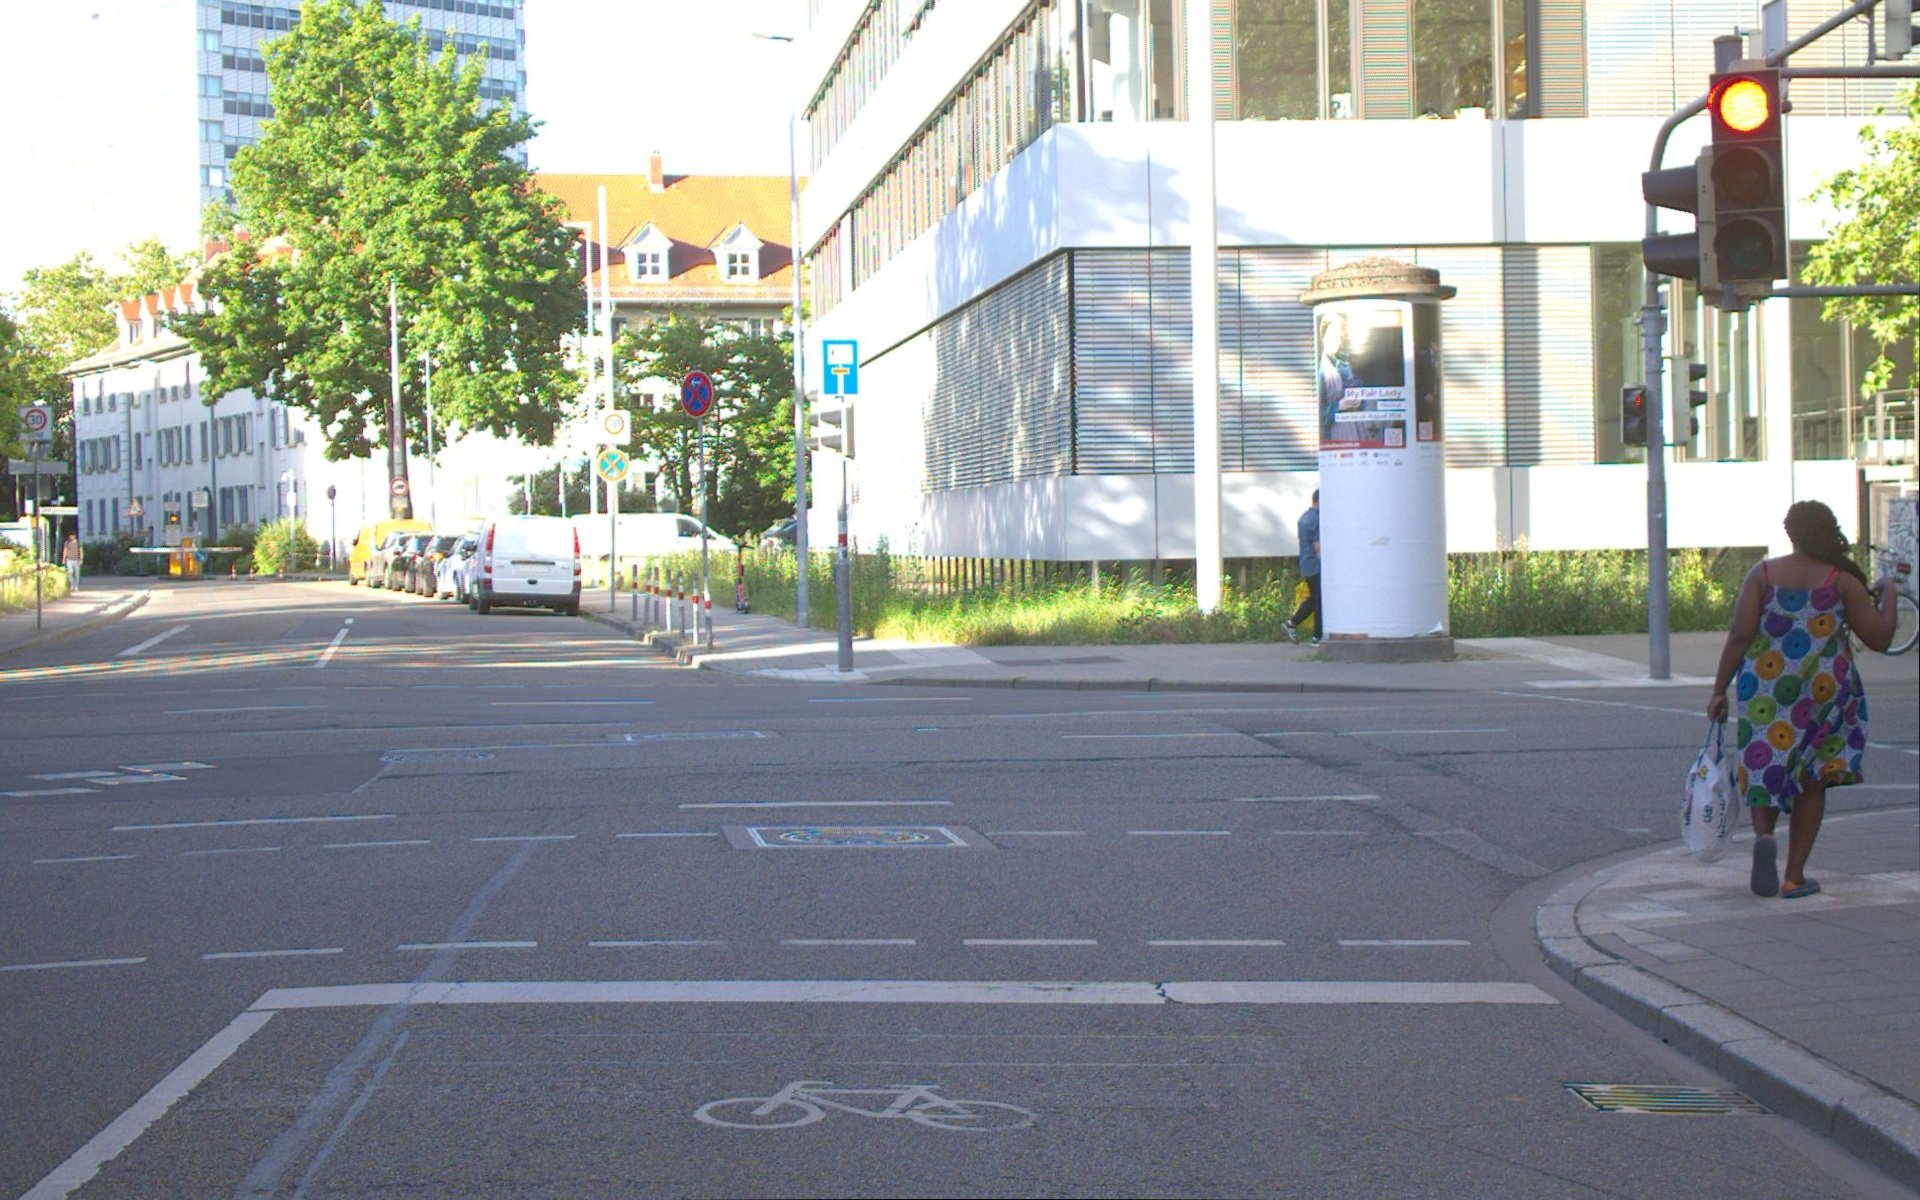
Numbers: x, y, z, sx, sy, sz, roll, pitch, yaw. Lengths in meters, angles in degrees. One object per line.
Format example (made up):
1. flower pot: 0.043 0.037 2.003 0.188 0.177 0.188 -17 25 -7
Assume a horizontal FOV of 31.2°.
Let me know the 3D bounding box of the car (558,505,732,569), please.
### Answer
1. car: -9.421 -1.863 102.793 4.880 1.865 2.001 0 0 -16

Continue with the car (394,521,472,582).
1. car: -13.183 -1.221 85.836 1.703 1.459 4.239 -1 1 -11

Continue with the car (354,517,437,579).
1. car: -15.730 -1.469 95.658 2.100 1.652 4.477 -1 1 -11

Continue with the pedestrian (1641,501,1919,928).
1. pedestrian: 3.231 0.434 13.433 0.955 1.568 0.750 -4 1 16

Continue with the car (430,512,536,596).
1. car: -10.632 -1.039 76.415 1.946 1.789 4.239 -1 1 -13

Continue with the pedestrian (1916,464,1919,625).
1. pedestrian: 11.290 -0.631 38.648 0.537 1.824 1.041 -1 1 -18

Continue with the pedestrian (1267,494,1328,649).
1. pedestrian: 3.825 -0.328 38.916 0.652 1.730 0.812 -1 1 6

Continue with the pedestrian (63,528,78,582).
1. pedestrian: -25.509 -1.294 98.568 0.380 1.529 0.446 -1 1 -12

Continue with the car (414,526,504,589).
1. car: -11.869 -1.015 81.267 1.703 1.419 4.239 -1 1 -14

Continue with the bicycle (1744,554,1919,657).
1. bicycle: 9.182 0.046 36.115 0.463 1.045 1.914 -2 2 -42

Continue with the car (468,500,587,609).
1. car: -8.164 -0.870 64.641 2.066 1.956 4.239 -1 1 -9
